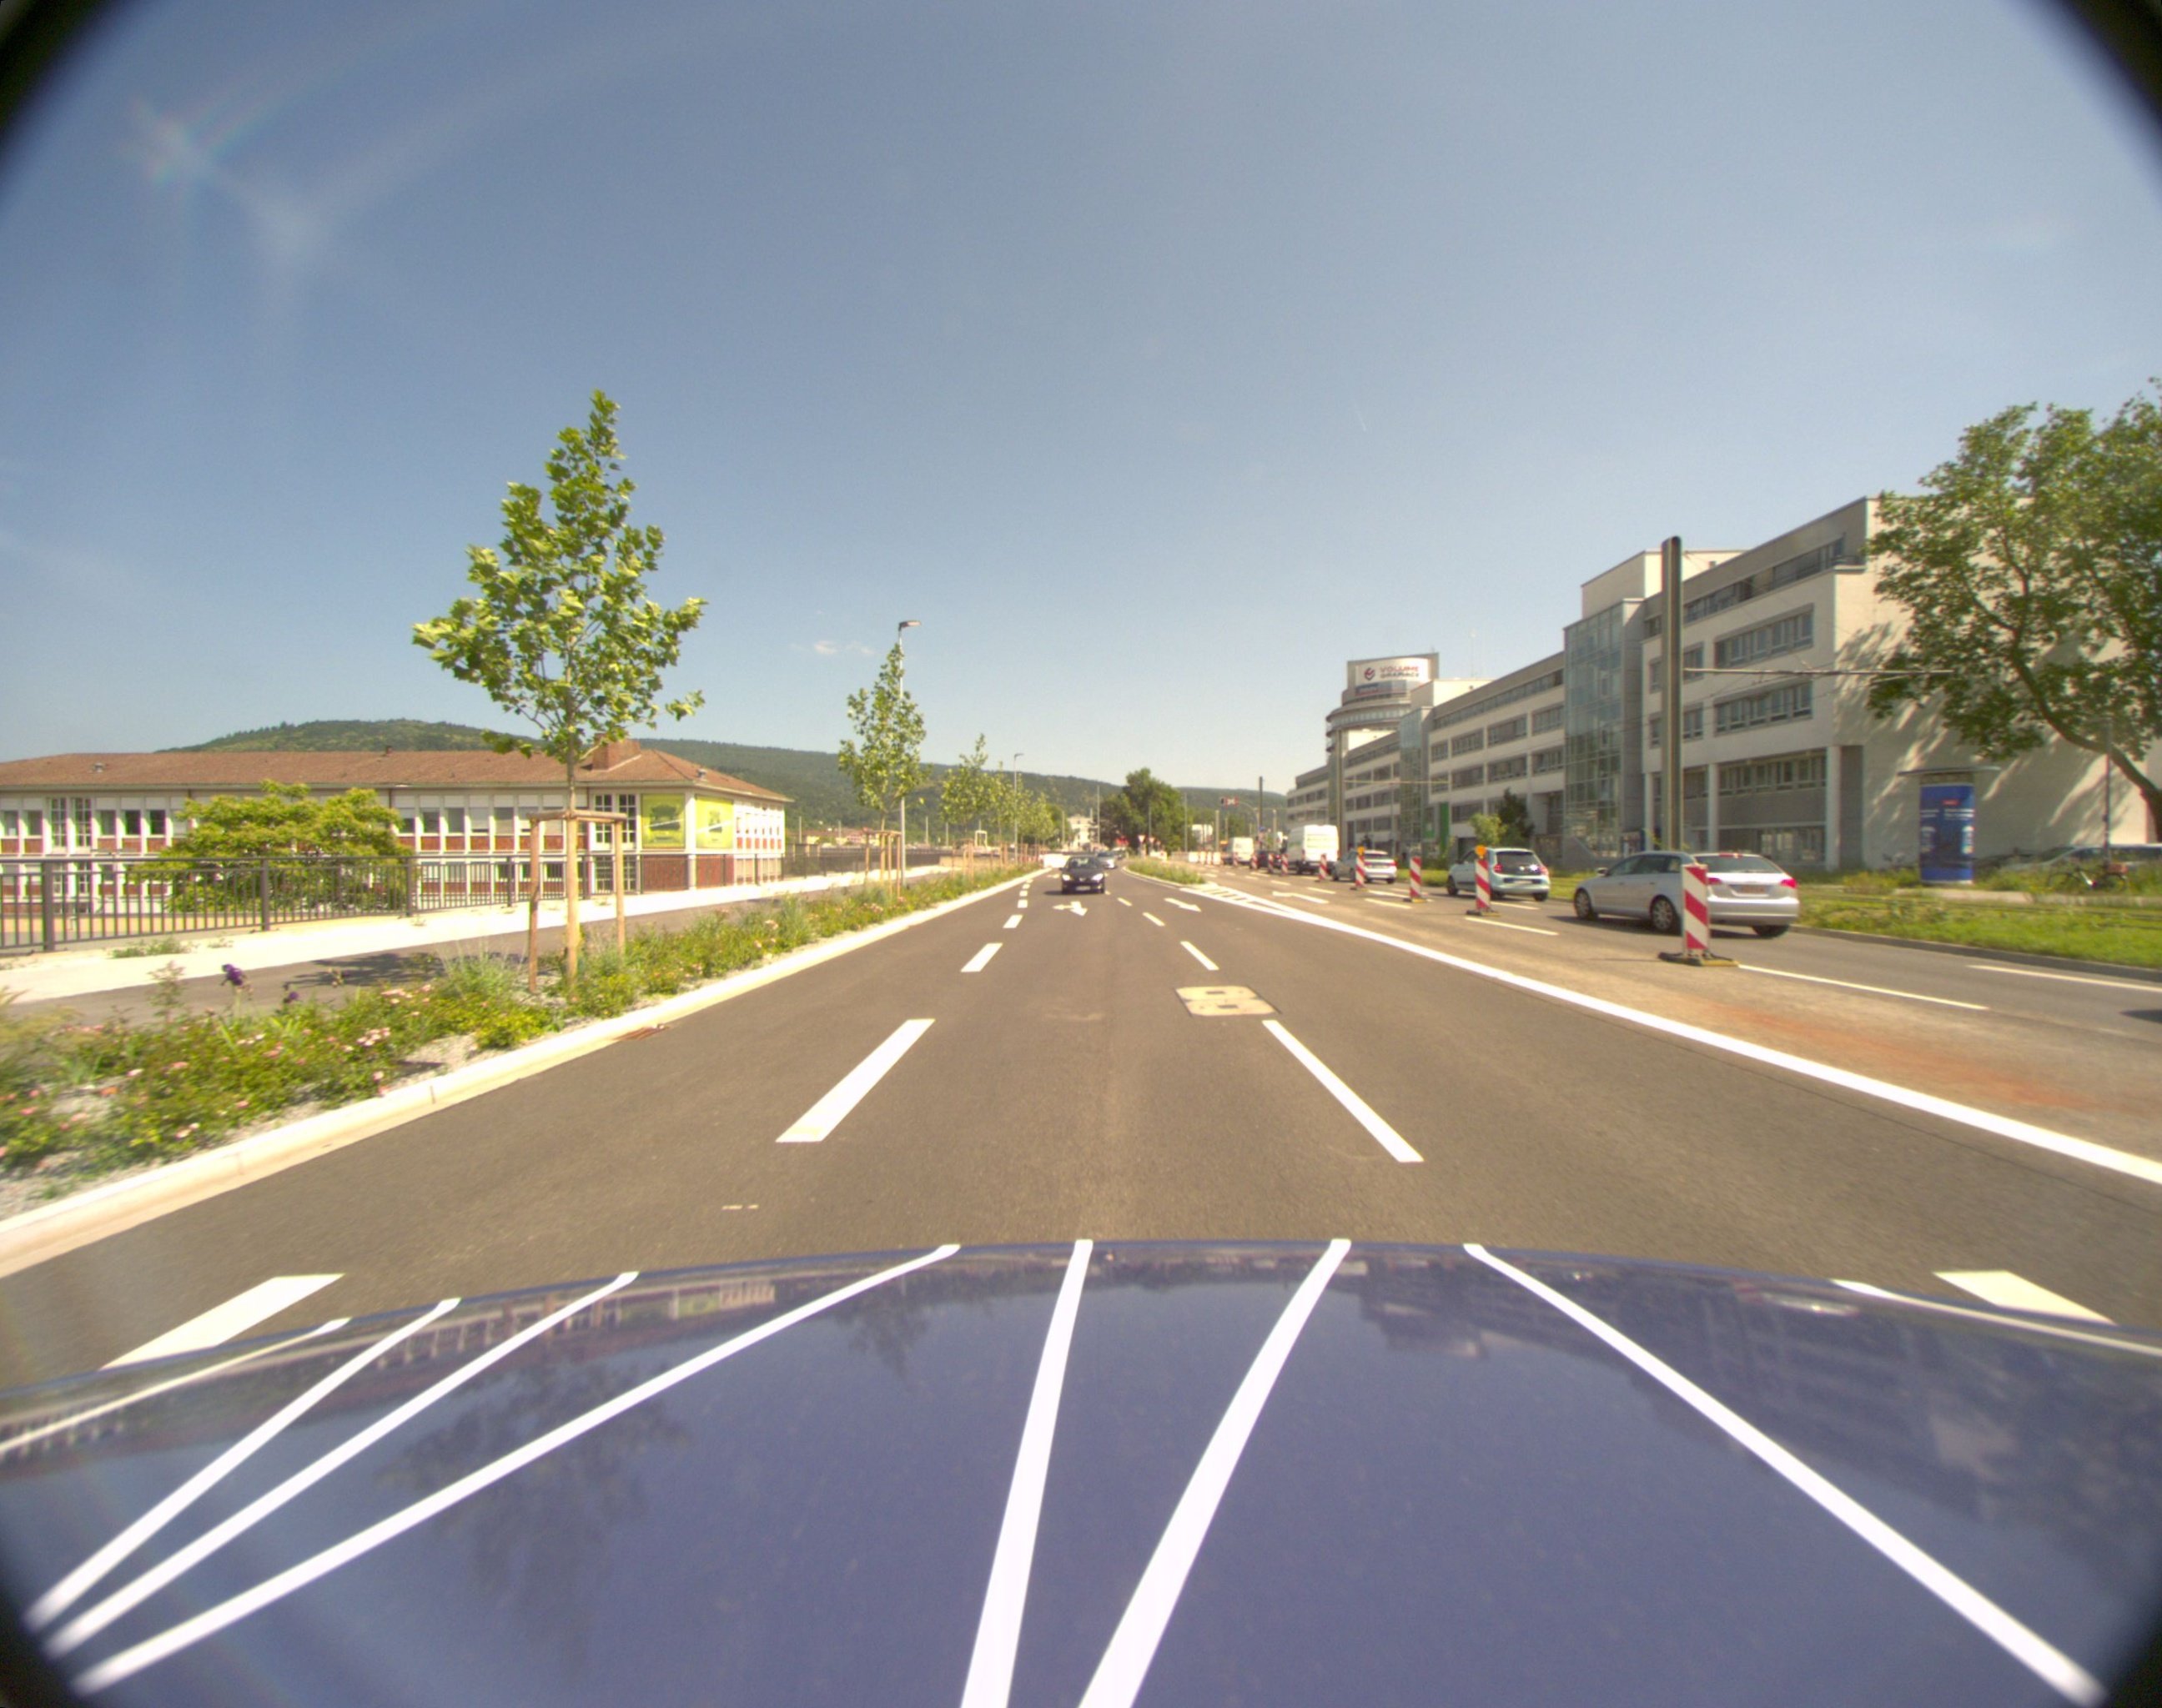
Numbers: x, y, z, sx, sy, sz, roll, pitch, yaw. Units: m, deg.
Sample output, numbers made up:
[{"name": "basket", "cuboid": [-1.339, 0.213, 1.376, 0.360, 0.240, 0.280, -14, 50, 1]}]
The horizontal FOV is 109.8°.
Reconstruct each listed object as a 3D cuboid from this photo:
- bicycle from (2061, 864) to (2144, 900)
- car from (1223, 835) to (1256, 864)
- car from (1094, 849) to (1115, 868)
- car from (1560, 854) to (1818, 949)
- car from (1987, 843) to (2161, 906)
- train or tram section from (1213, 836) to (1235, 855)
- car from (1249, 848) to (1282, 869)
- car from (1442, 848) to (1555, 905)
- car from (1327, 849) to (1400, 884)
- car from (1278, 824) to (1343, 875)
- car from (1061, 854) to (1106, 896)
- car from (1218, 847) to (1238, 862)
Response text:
[{"name": "bicycle", "cuboid": [30.091, 0.799, 22.414, 0.461, 0.980, 1.558, -1, 1, 5]}, {"name": "car", "cuboid": [14.524, -0.413, 69.984, 2.035, 2.564, 6.195, 2, 1, 3]}, {"name": "car", "cuboid": [1.890, 0.371, 61.236, 1.618, 1.433, 3.767, 0, 1, 1]}, {"name": "car", "cuboid": [10.649, 0.724, 13.789, 1.583, 1.408, 4.298, 0, 1, 6]}, {"name": "car", "cuboid": [37.676, 0.723, 27.992, 5.062, 2.167, 2.117, 0, 1, 29]}, {"name": "train or tram section", "cuboid": [28.395, -1.726, 151.198, 2.630, 3.431, 11.783, -2, 1, 4]}, {"name": "car", "cuboid": [13.436, 0.279, 55.498, 1.549, 1.449, 4.193, 2, 1, 2]}, {"name": "car", "cuboid": [12.402, 0.597, 22.811, 1.583, 1.521, 3.621, 2, 1, 4]}, {"name": "car", "cuboid": [12.563, 0.509, 34.079, 1.677, 1.435, 4.468, 1, 1, 1]}, {"name": "car", "cuboid": [13.156, -0.270, 44.054, 2.082, 2.724, 5.986, 1, 1, 2]}, {"name": "car", "cuboid": [0.110, 0.757, 29.133, 1.618, 1.433, 3.706, 0, 1, 1]}, {"name": "car", "cuboid": [15.588, 0.019, 80.516, 1.584, 1.532, 3.979, 2, 1, 4]}]
